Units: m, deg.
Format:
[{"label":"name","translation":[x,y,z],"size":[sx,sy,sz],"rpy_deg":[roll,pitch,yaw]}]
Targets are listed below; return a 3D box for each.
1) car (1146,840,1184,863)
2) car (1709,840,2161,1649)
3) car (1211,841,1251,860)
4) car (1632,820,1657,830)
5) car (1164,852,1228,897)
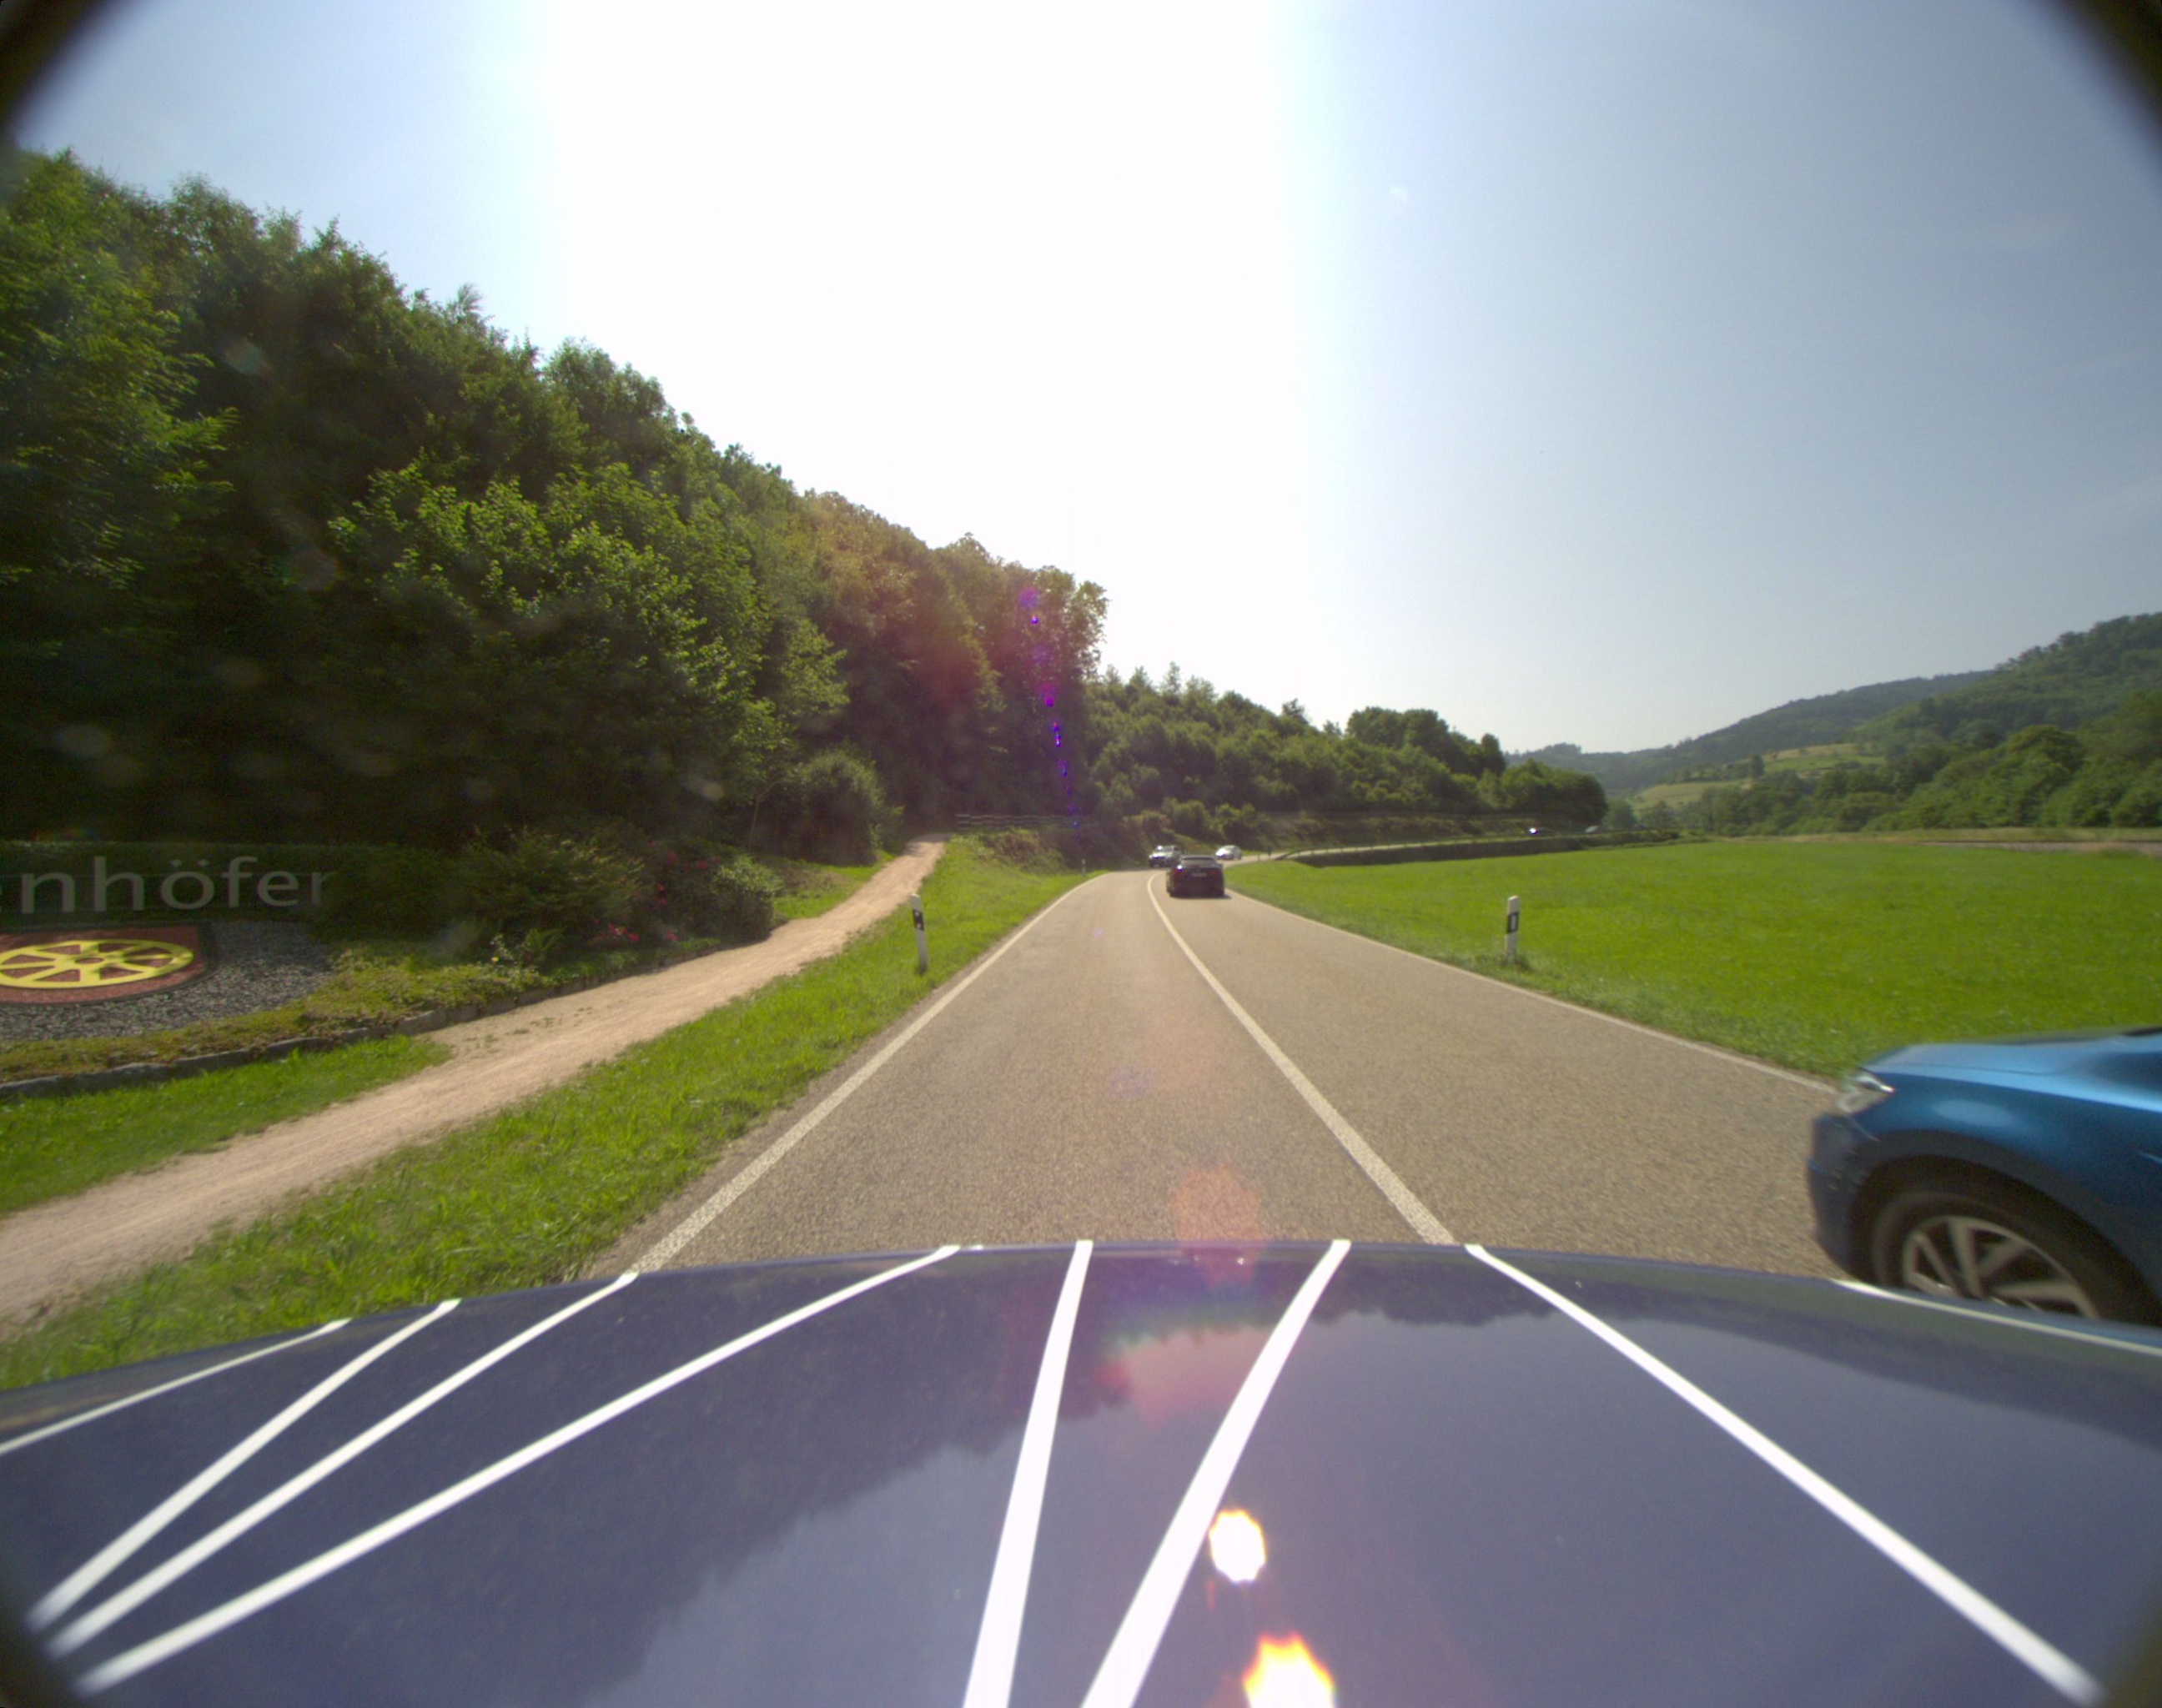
[{"label":"car","translation":[7.130,-0.247,63.942],"size":[2.114,1.803,4.462],"rpy_deg":[-2,0,20]},{"label":"car","translation":[3.124,0.773,0.344],"size":[1.870,1.614,4.510],"rpy_deg":[-2,0,-1]},{"label":"car","translation":[15.815,-0.407,79.891],"size":[2.143,1.482,4.679],"rpy_deg":[-7,0,37]},{"label":"car","translation":[103.231,-5.331,139.125],"size":[4.904,1.730,1.951],"rpy_deg":[-2,1,-31]},{"label":"car","translation":[4.061,0.660,27.423],"size":[1.920,1.462,4.511],"rpy_deg":[0,0,4]}]
